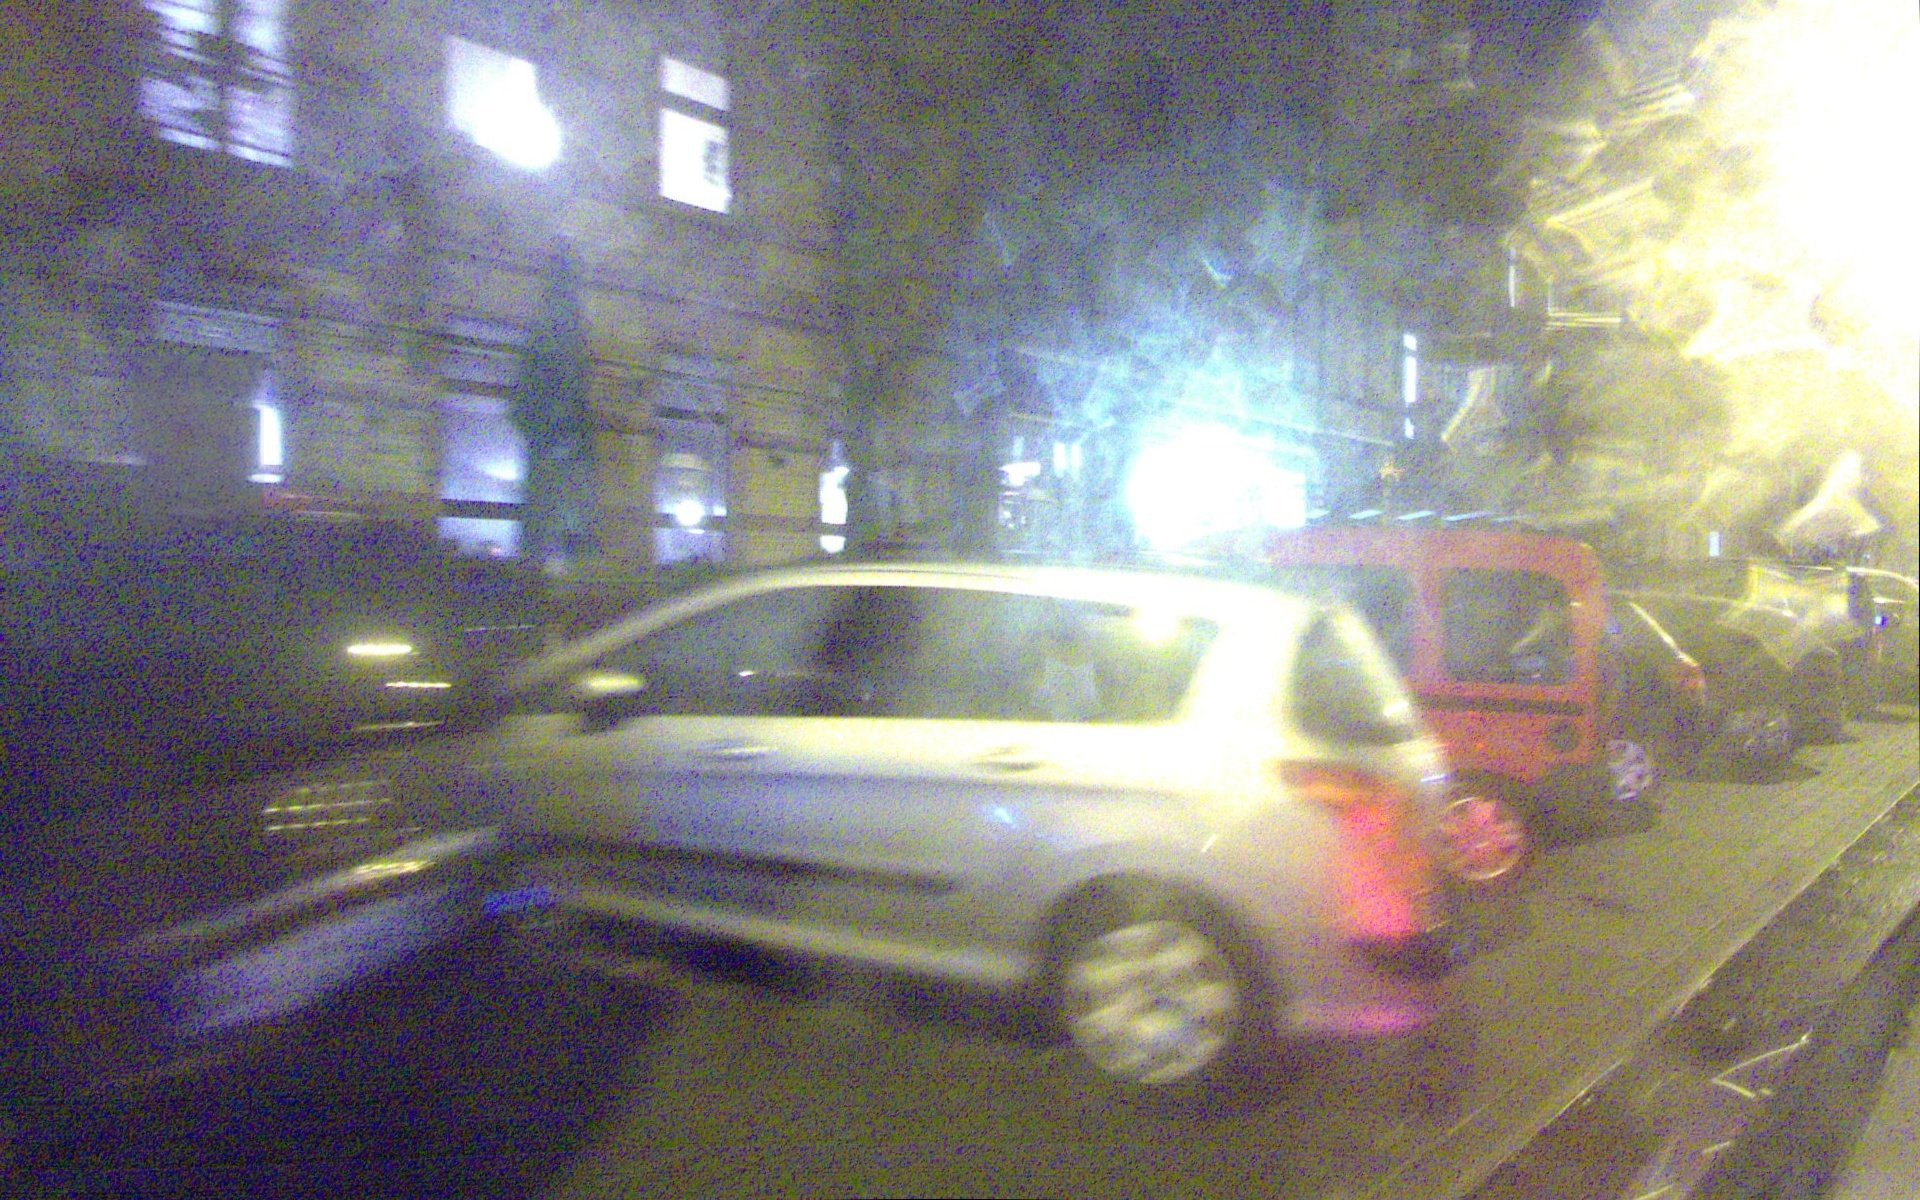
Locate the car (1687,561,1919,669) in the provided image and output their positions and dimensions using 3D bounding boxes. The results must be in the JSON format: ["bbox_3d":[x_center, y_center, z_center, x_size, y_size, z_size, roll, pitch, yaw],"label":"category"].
[{"bbox_3d":[16.343,0.240,19.150,3.899,1.763,1.694,4,3,28],"label":"car"}]

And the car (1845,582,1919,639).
[{"bbox_3d":[27.330,0.346,27.980,3.897,1.481,1.695,4,3,27],"label":"car"}]

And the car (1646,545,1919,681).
[{"bbox_3d":[14.541,0.188,16.887,4.656,2.004,1.966,3,3,21],"label":"car"}]

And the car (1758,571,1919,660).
[{"bbox_3d":[18.915,0.315,20.571,3.899,1.639,1.694,4,3,28],"label":"car"}]

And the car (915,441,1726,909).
[{"bbox_3d":[1.779,0.232,5.824,3.687,2.053,1.714,3,2,15],"label":"car"}]

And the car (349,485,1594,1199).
[{"bbox_3d":[-0.128,0.461,3.920,4.027,1.617,1.821,3,3,23],"label":"car"}]

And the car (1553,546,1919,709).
[{"bbox_3d":[10.269,0.288,13.248,3.875,1.814,1.737,3,3,13],"label":"car"}]

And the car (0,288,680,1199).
[{"bbox_3d":[-2.777,0.382,2.328,3.740,1.733,1.741,3,3,16],"label":"car"}]

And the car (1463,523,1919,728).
[{"bbox_3d":[8.163,0.197,11.612,3.875,1.966,1.737,3,2,13],"label":"car"}]

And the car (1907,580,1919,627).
[{"bbox_3d":[34.080,0.233,33.271,3.897,1.581,1.695,4,3,27],"label":"car"}]

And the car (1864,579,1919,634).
[{"bbox_3d":[29.849,0.257,30.186,3.897,1.581,1.695,4,3,27],"label":"car"}]

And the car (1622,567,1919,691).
[{"bbox_3d":[12.481,0.381,15.141,3.880,1.568,1.735,3,3,17],"label":"car"}]

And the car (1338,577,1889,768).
[{"bbox_3d":[5.816,0.559,9.582,3.999,1.471,1.671,2,1,15],"label":"car"}]

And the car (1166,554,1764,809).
[{"bbox_3d":[3.557,0.465,7.777,3.657,1.470,1.649,3,3,19],"label":"car"}]
